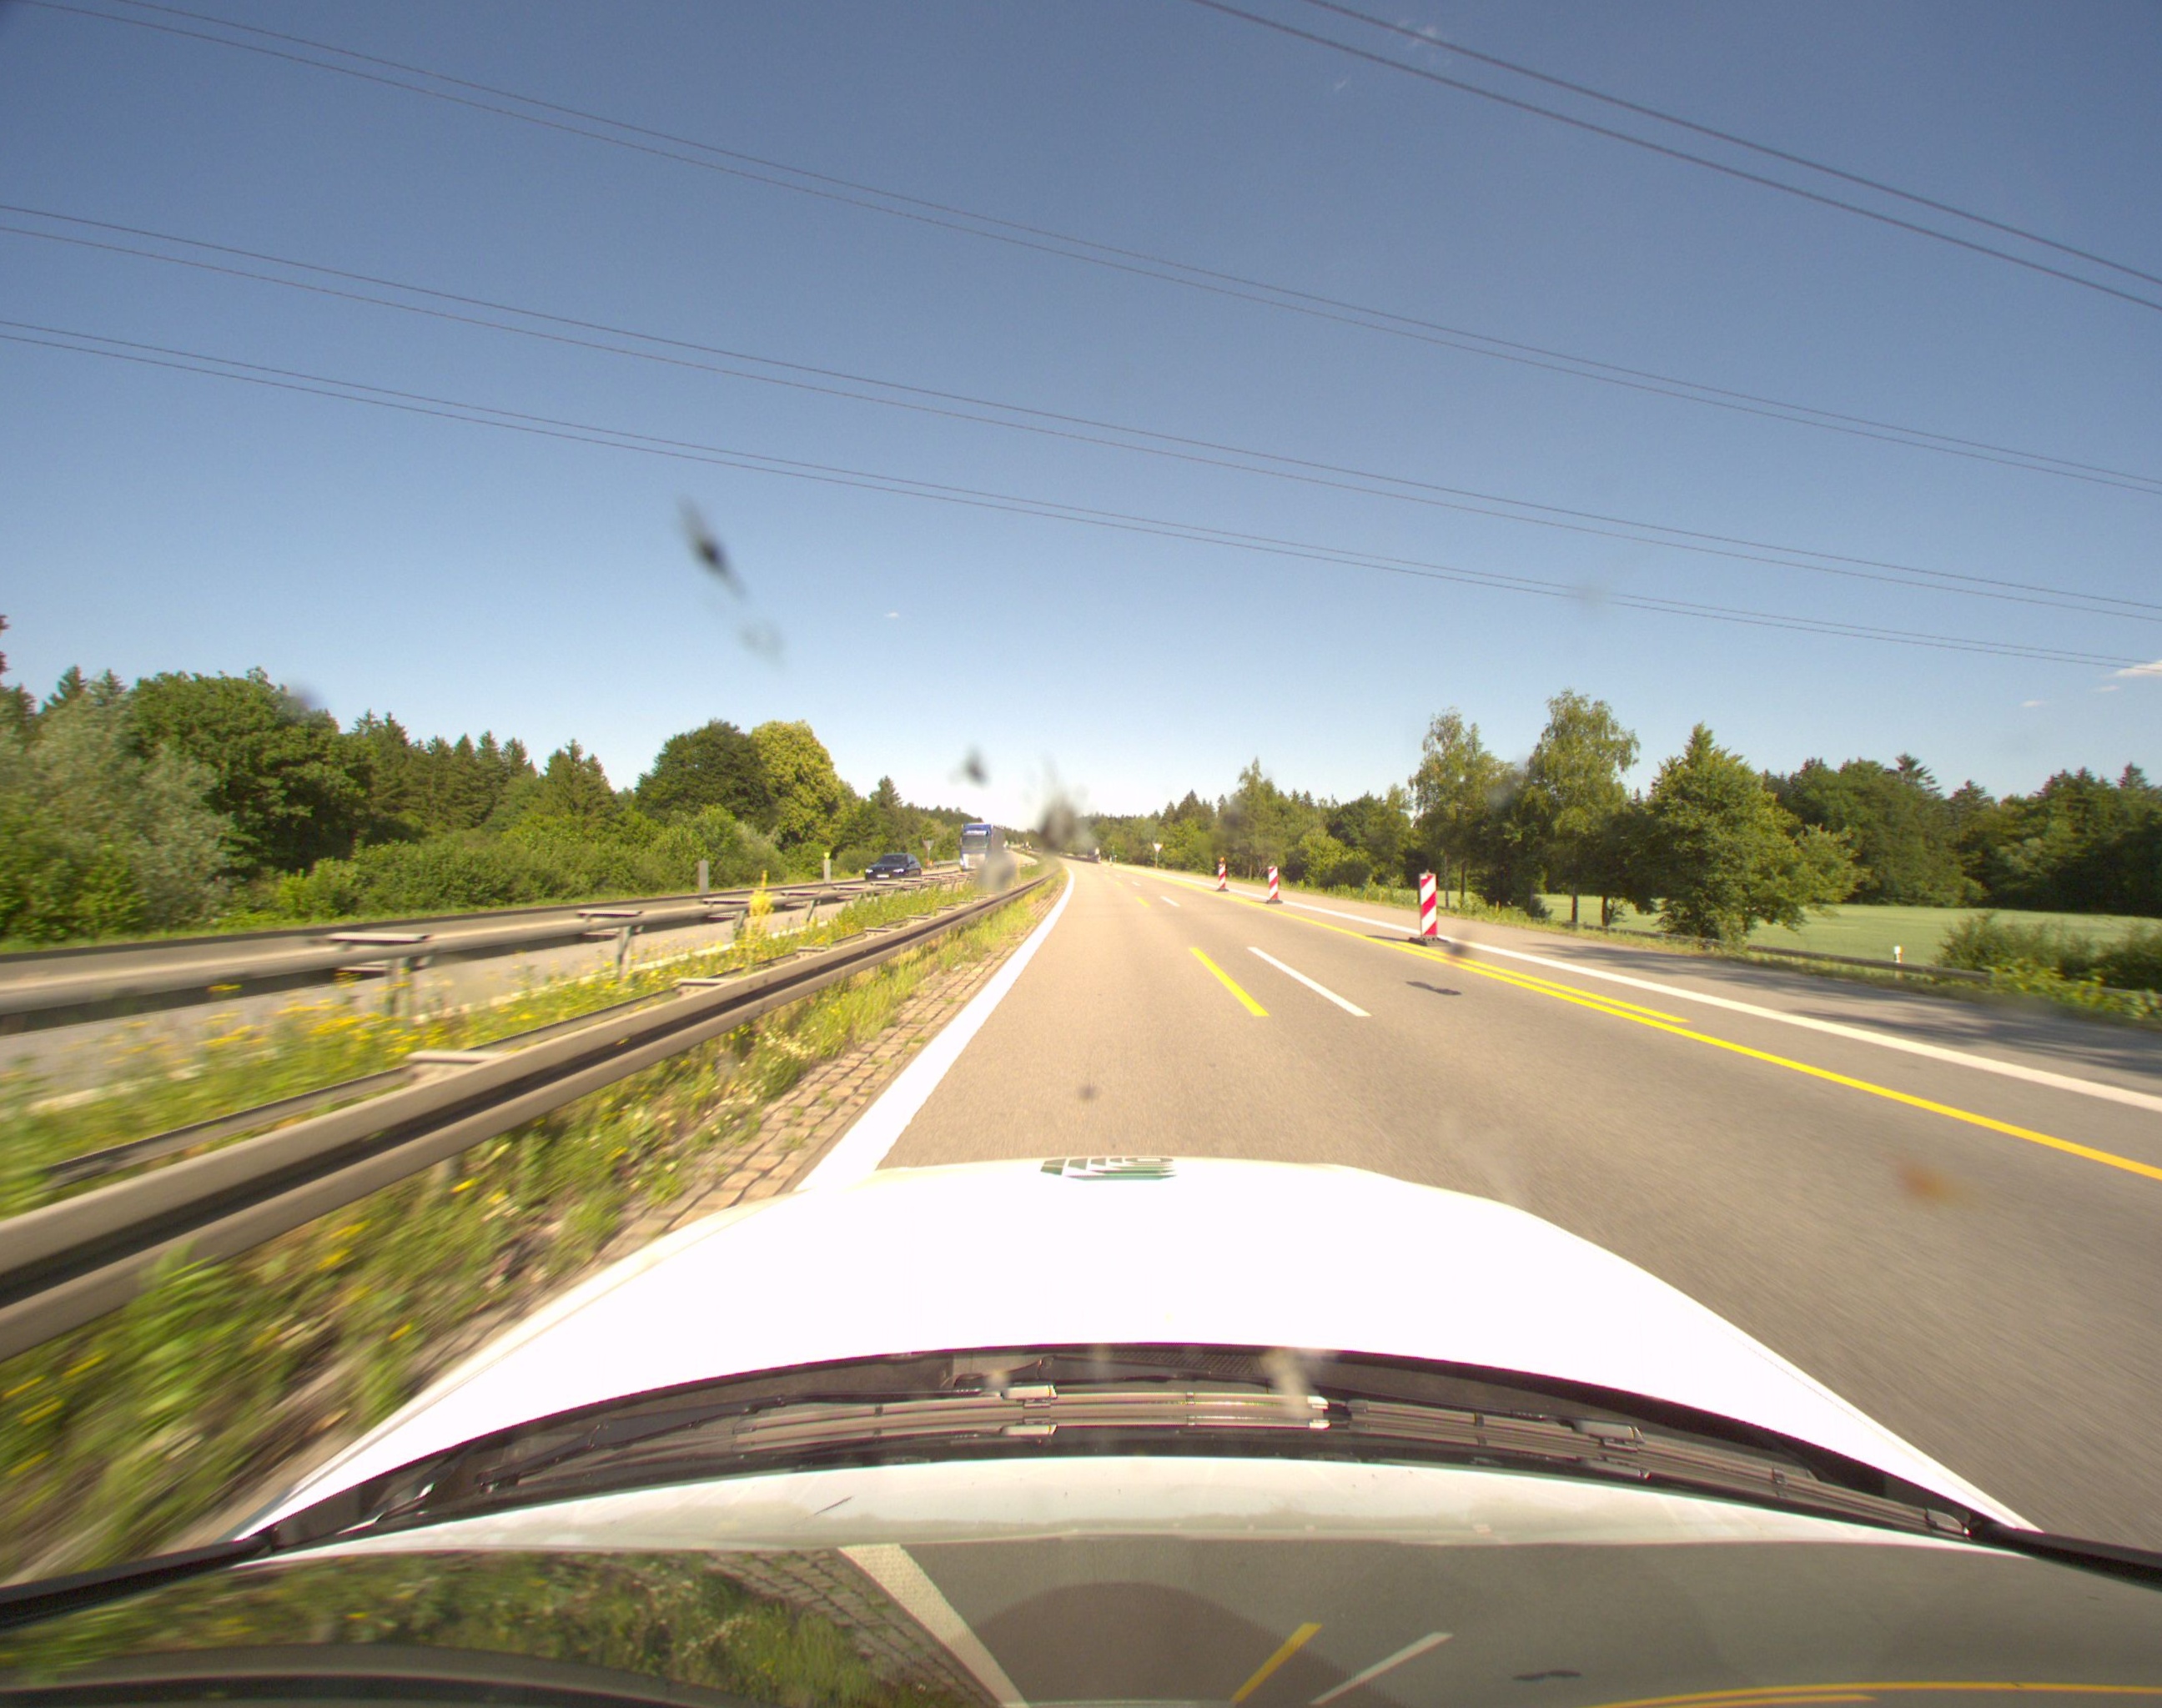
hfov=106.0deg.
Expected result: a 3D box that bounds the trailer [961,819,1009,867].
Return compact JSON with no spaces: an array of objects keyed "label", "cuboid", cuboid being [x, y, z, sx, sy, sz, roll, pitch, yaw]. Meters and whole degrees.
[{"label":"trailer","cuboid":[-8.538,-0.965,74.240,2.670,3.954,13.767,0,0,0]}]

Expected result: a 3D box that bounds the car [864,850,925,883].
[{"label":"car","cuboid":[-8.564,0.563,37.819,1.771,1.429,4.269,-1,0,1]}]

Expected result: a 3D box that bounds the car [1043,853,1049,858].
[{"label":"car","cuboid":[-10.985,0.371,255.779,1.742,1.466,4.284,2,0,-6]}]

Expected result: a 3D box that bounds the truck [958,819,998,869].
[{"label":"truck","cuboid":[-8.536,-0.793,68.139,2.624,3.959,5.841,0,0,0]}]
